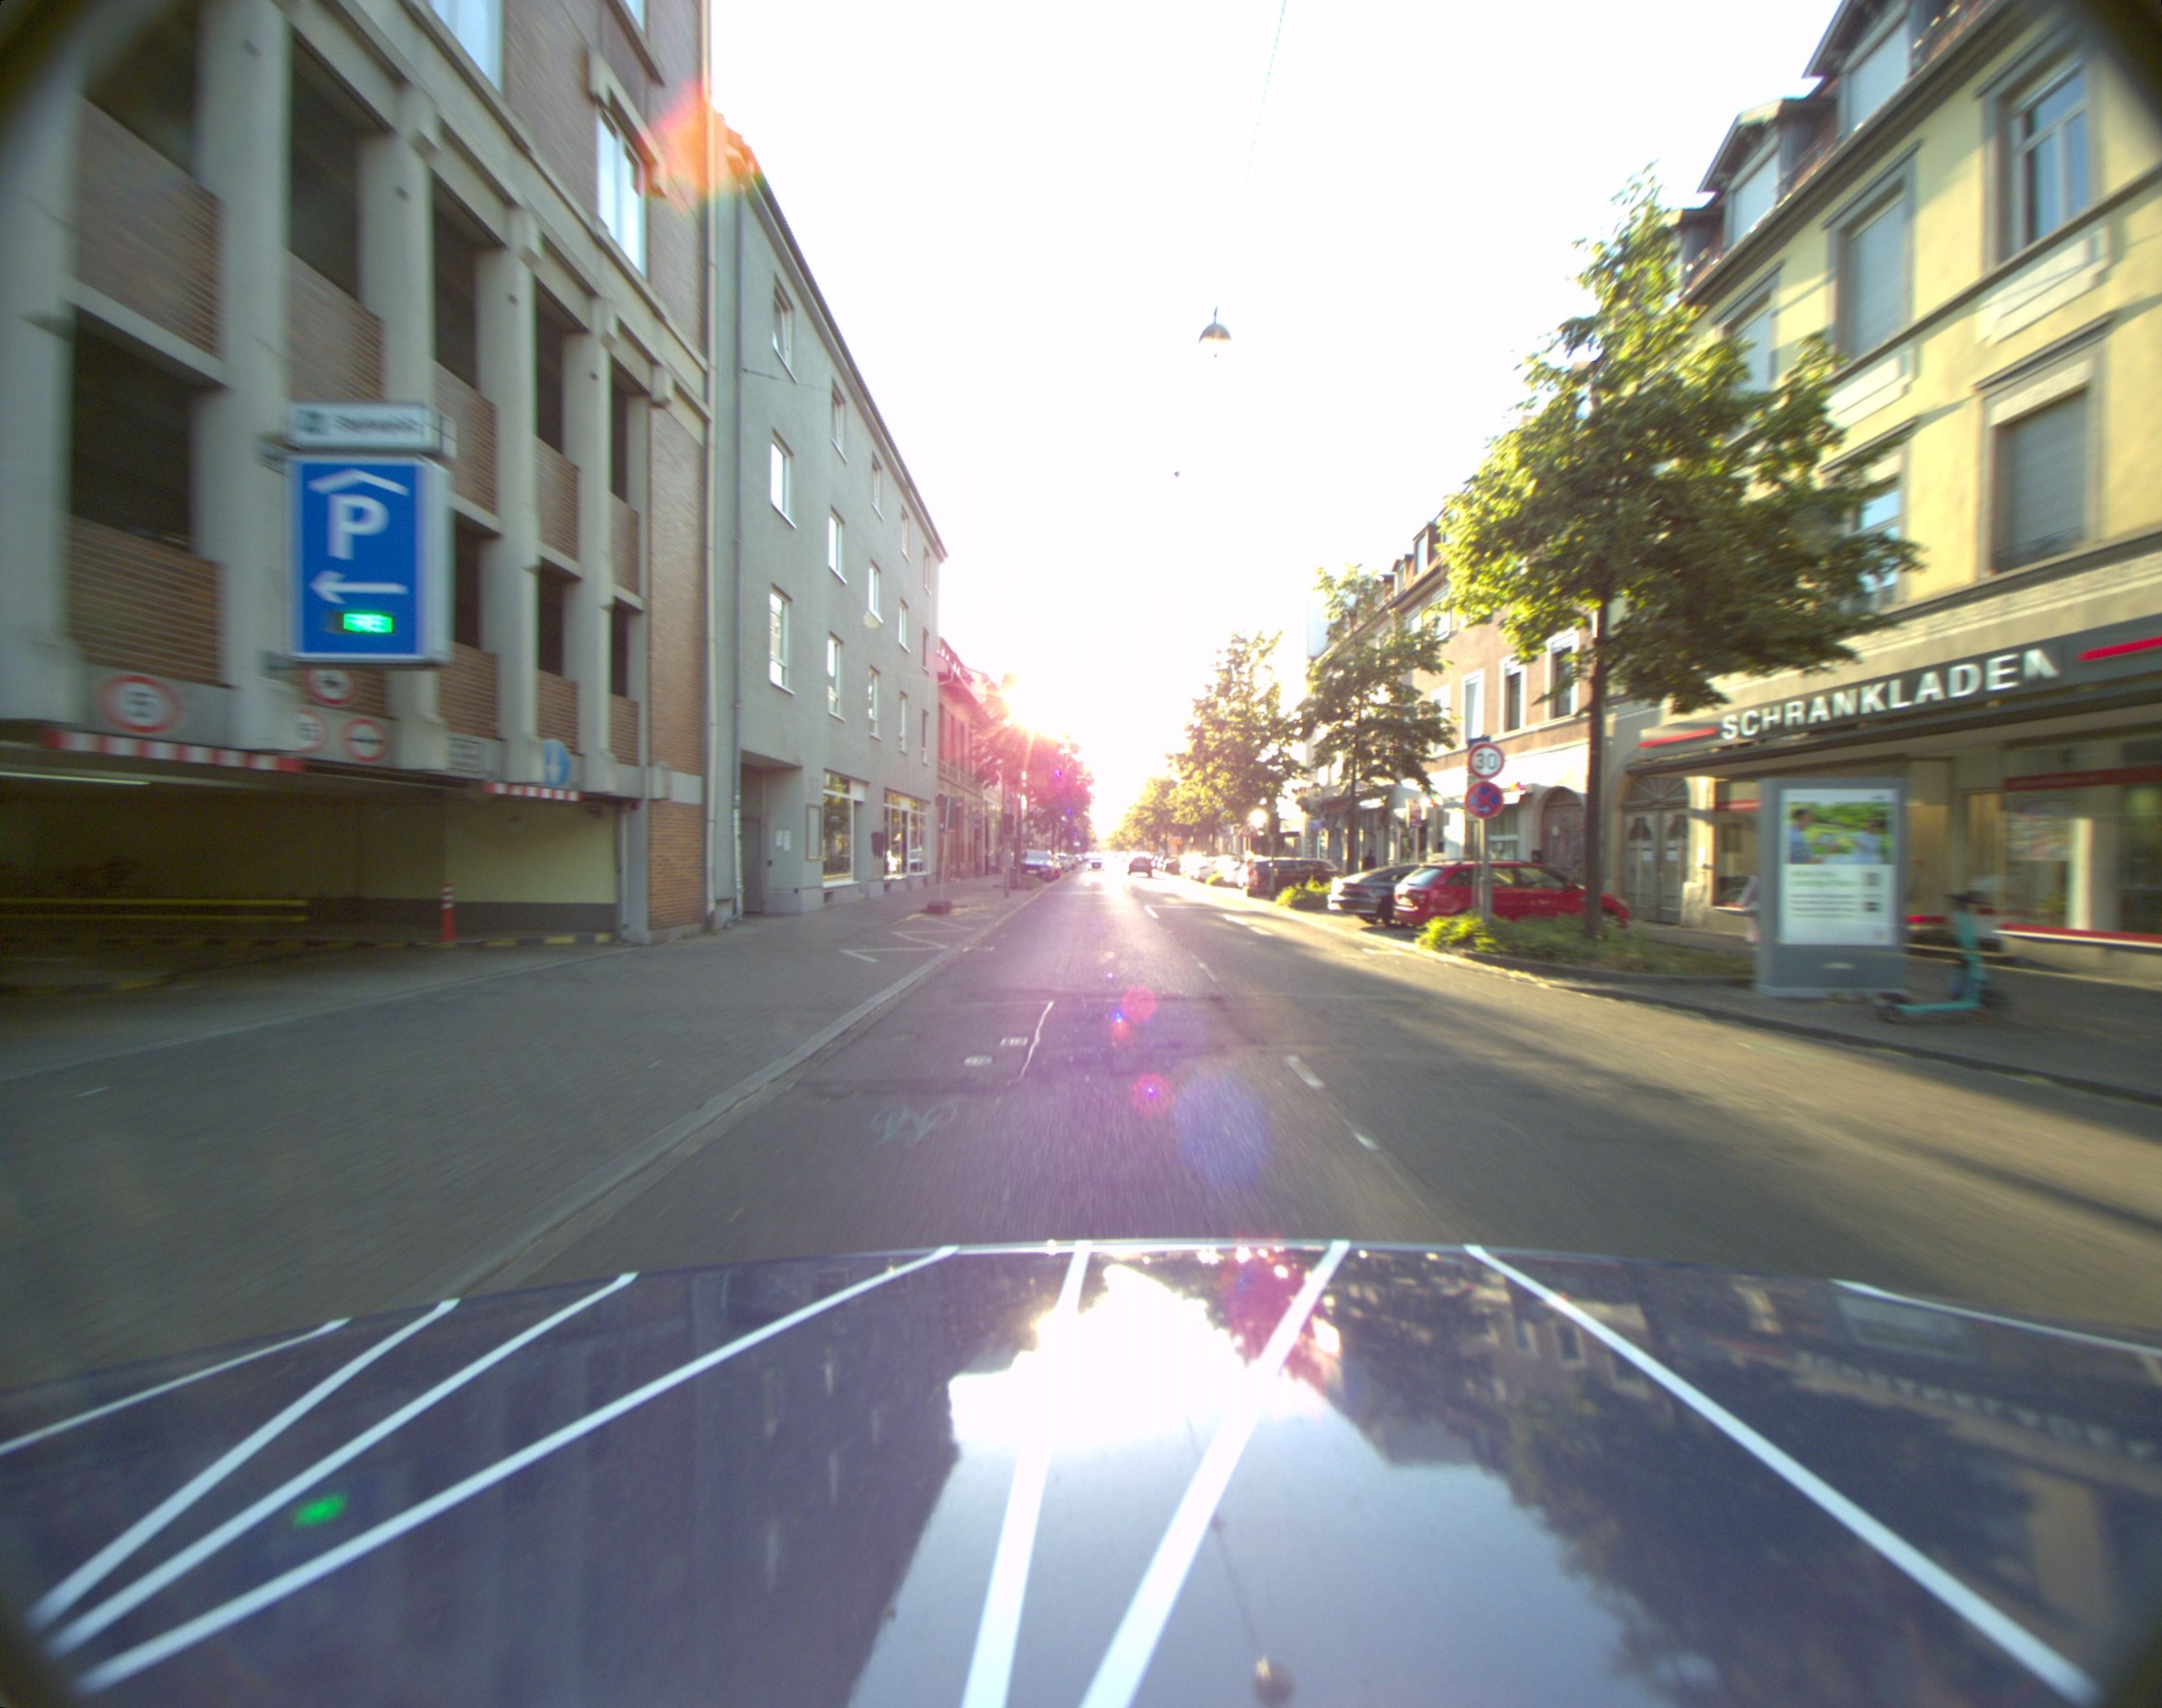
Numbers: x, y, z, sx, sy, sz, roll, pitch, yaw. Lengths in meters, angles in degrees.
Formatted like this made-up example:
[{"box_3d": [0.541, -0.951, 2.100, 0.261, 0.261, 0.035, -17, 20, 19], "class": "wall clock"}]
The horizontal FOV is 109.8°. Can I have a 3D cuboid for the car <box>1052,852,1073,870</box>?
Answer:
[{"box_3d": [-1.608, 0.583, 66.641, 1.695, 1.534, 3.553, 2, 0, 1], "class": "car"}]

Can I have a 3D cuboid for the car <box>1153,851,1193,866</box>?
[{"box_3d": [9.490, 0.447, 78.634, 3.876, 1.448, 1.744, 0, 0, -1], "class": "car"}]

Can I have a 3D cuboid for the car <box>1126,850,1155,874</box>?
[{"box_3d": [4.397, 0.615, 56.451, 1.866, 1.682, 4.461, 0, -1, 1], "class": "car"}]

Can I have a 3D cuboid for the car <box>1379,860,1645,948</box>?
[{"box_3d": [8.208, 0.921, 14.775, 4.082, 1.527, 1.884, -1, 0, 1], "class": "car"}]

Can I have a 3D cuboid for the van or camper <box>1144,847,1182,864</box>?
[{"box_3d": [10.008, 0.187, 93.169, 4.469, 1.945, 1.789, 0, 0, 3], "class": "van or camper"}]

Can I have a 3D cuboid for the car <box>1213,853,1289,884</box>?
[{"box_3d": [8.843, 0.734, 39.633, 3.565, 1.493, 1.716, -1, 0, 0], "class": "car"}]

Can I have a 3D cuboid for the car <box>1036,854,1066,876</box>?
[{"box_3d": [-2.105, 0.752, 54.190, 1.957, 1.382, 4.424, 2, 0, -1], "class": "car"}]

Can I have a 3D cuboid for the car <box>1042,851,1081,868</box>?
[{"box_3d": [-1.904, 0.579, 75.041, 1.661, 1.574, 3.632, 1, -1, 42], "class": "car"}]

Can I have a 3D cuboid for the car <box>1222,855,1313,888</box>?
[{"box_3d": [8.623, 0.807, 35.365, 3.748, 1.435, 1.805, -1, 0, -1], "class": "car"}]

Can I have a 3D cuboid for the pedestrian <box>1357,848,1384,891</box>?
[{"box_3d": [11.787, 0.628, 30.972, 0.774, 1.712, 0.875, -1, 2, 2], "class": "pedestrian"}]

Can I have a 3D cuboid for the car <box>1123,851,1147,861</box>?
[{"box_3d": [10.273, 0.311, 144.677, 4.439, 1.832, 1.814, -1, 0, 0], "class": "car"}]

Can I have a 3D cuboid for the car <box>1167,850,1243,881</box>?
[{"box_3d": [7.283, 0.657, 44.826, 4.160, 1.762, 1.889, -1, 0, -1], "class": "car"}]

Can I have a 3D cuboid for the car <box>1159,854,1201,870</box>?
[{"box_3d": [9.507, 0.757, 73.193, 3.876, 1.558, 1.744, 0, 0, -1], "class": "car"}]

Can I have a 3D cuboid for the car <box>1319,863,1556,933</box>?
[{"box_3d": [8.032, 0.970, 17.409, 4.582, 1.399, 1.821, -1, 0, 0], "class": "car"}]

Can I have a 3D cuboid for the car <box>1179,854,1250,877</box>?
[{"box_3d": [9.003, 0.758, 51.496, 4.559, 1.475, 1.744, 0, 0, 1], "class": "car"}]

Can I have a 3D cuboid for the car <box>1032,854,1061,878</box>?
[{"box_3d": [-2.210, 0.755, 49.394, 1.734, 1.479, 3.900, 2, 0, -1], "class": "car"}]

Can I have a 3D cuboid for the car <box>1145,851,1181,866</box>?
[{"box_3d": [9.773, 0.544, 90.375, 4.192, 1.659, 1.732, 0, 1, 3], "class": "car"}]

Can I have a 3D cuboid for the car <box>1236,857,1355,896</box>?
[{"box_3d": [8.411, 0.850, 30.022, 4.117, 1.395, 1.884, -1, 0, -1], "class": "car"}]

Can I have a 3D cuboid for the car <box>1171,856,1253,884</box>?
[{"box_3d": [7.195, 0.858, 42.018, 4.160, 1.413, 1.766, -1, 0, -1], "class": "car"}]

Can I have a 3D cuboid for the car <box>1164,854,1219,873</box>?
[{"box_3d": [9.013, 0.750, 62.351, 4.285, 1.475, 1.744, 0, 0, 2], "class": "car"}]

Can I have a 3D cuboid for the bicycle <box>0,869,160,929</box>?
[{"box_3d": [-16.307, 0.723, 12.294, 2.353, 0.919, 0.333, 0, 1, -1], "class": "bicycle"}]

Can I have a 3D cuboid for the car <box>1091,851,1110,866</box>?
[{"box_3d": [1.980, 0.426, 75.637, 1.825, 1.469, 4.155, 0, 0, 2], "class": "car"}]

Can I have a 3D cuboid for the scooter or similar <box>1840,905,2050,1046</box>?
[{"box_3d": [8.065, 1.112, 7.122, 1.402, 1.219, 0.525, -1, 1, -2], "class": "scooter or similar"}]

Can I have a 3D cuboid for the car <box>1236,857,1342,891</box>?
[{"box_3d": [8.845, 0.846, 32.605, 4.107, 1.395, 1.843, 0, 0, 3], "class": "car"}]

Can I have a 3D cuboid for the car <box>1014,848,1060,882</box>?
[{"box_3d": [-2.383, 0.562, 42.443, 2.043, 1.727, 4.712, 2, 0, 2], "class": "car"}]

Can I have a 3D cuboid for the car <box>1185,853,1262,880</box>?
[{"box_3d": [8.778, 0.754, 47.148, 4.417, 1.586, 1.890, -1, 0, 0], "class": "car"}]
